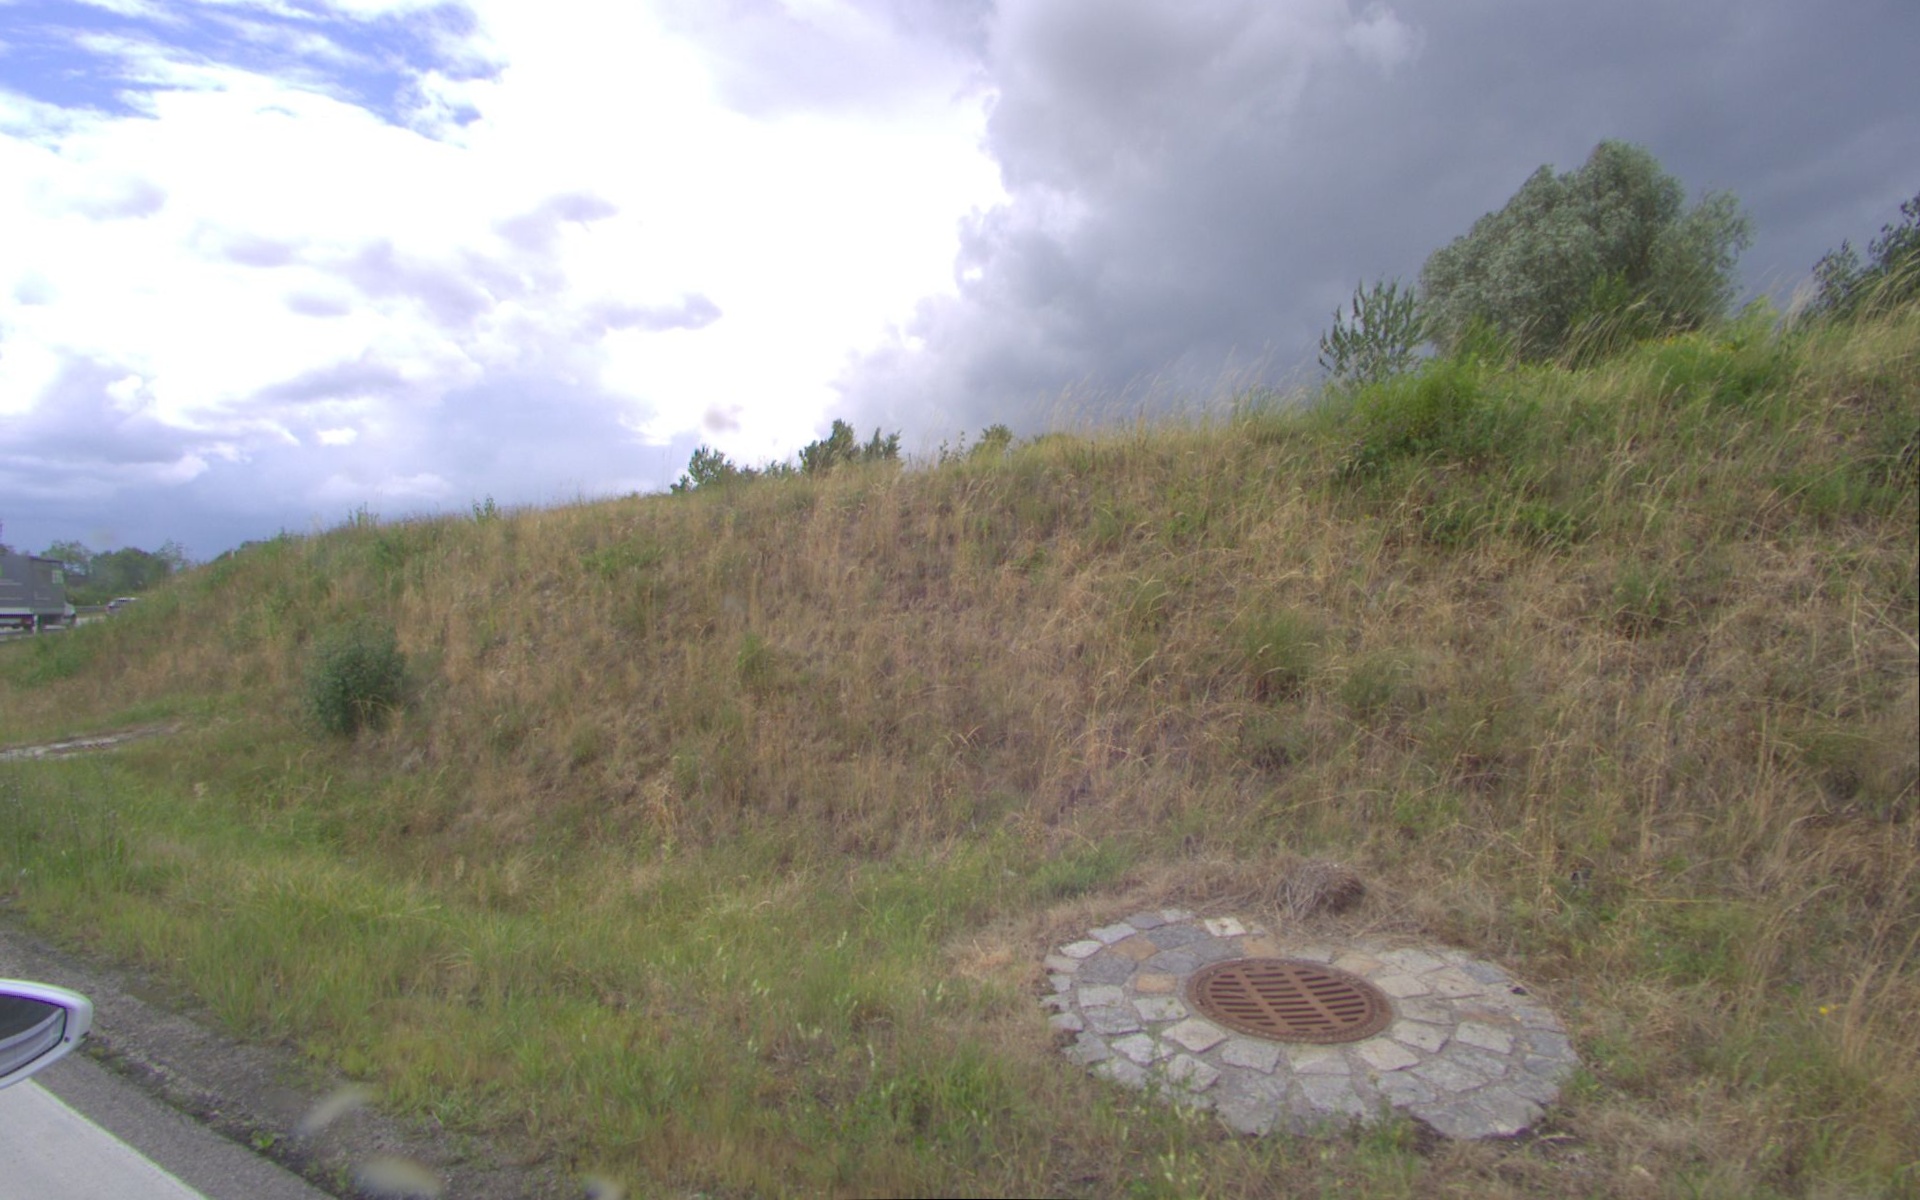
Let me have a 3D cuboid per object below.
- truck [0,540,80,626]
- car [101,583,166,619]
[{"bbox_3d":[-45.667,-0.718,49.279,2.203,3.956,5.990,0,-2,-28],"label":"truck"},{"bbox_3d":[-50.829,0.093,61.644,1.967,2.039,3.989,0,-2,-22],"label":"car"}]
